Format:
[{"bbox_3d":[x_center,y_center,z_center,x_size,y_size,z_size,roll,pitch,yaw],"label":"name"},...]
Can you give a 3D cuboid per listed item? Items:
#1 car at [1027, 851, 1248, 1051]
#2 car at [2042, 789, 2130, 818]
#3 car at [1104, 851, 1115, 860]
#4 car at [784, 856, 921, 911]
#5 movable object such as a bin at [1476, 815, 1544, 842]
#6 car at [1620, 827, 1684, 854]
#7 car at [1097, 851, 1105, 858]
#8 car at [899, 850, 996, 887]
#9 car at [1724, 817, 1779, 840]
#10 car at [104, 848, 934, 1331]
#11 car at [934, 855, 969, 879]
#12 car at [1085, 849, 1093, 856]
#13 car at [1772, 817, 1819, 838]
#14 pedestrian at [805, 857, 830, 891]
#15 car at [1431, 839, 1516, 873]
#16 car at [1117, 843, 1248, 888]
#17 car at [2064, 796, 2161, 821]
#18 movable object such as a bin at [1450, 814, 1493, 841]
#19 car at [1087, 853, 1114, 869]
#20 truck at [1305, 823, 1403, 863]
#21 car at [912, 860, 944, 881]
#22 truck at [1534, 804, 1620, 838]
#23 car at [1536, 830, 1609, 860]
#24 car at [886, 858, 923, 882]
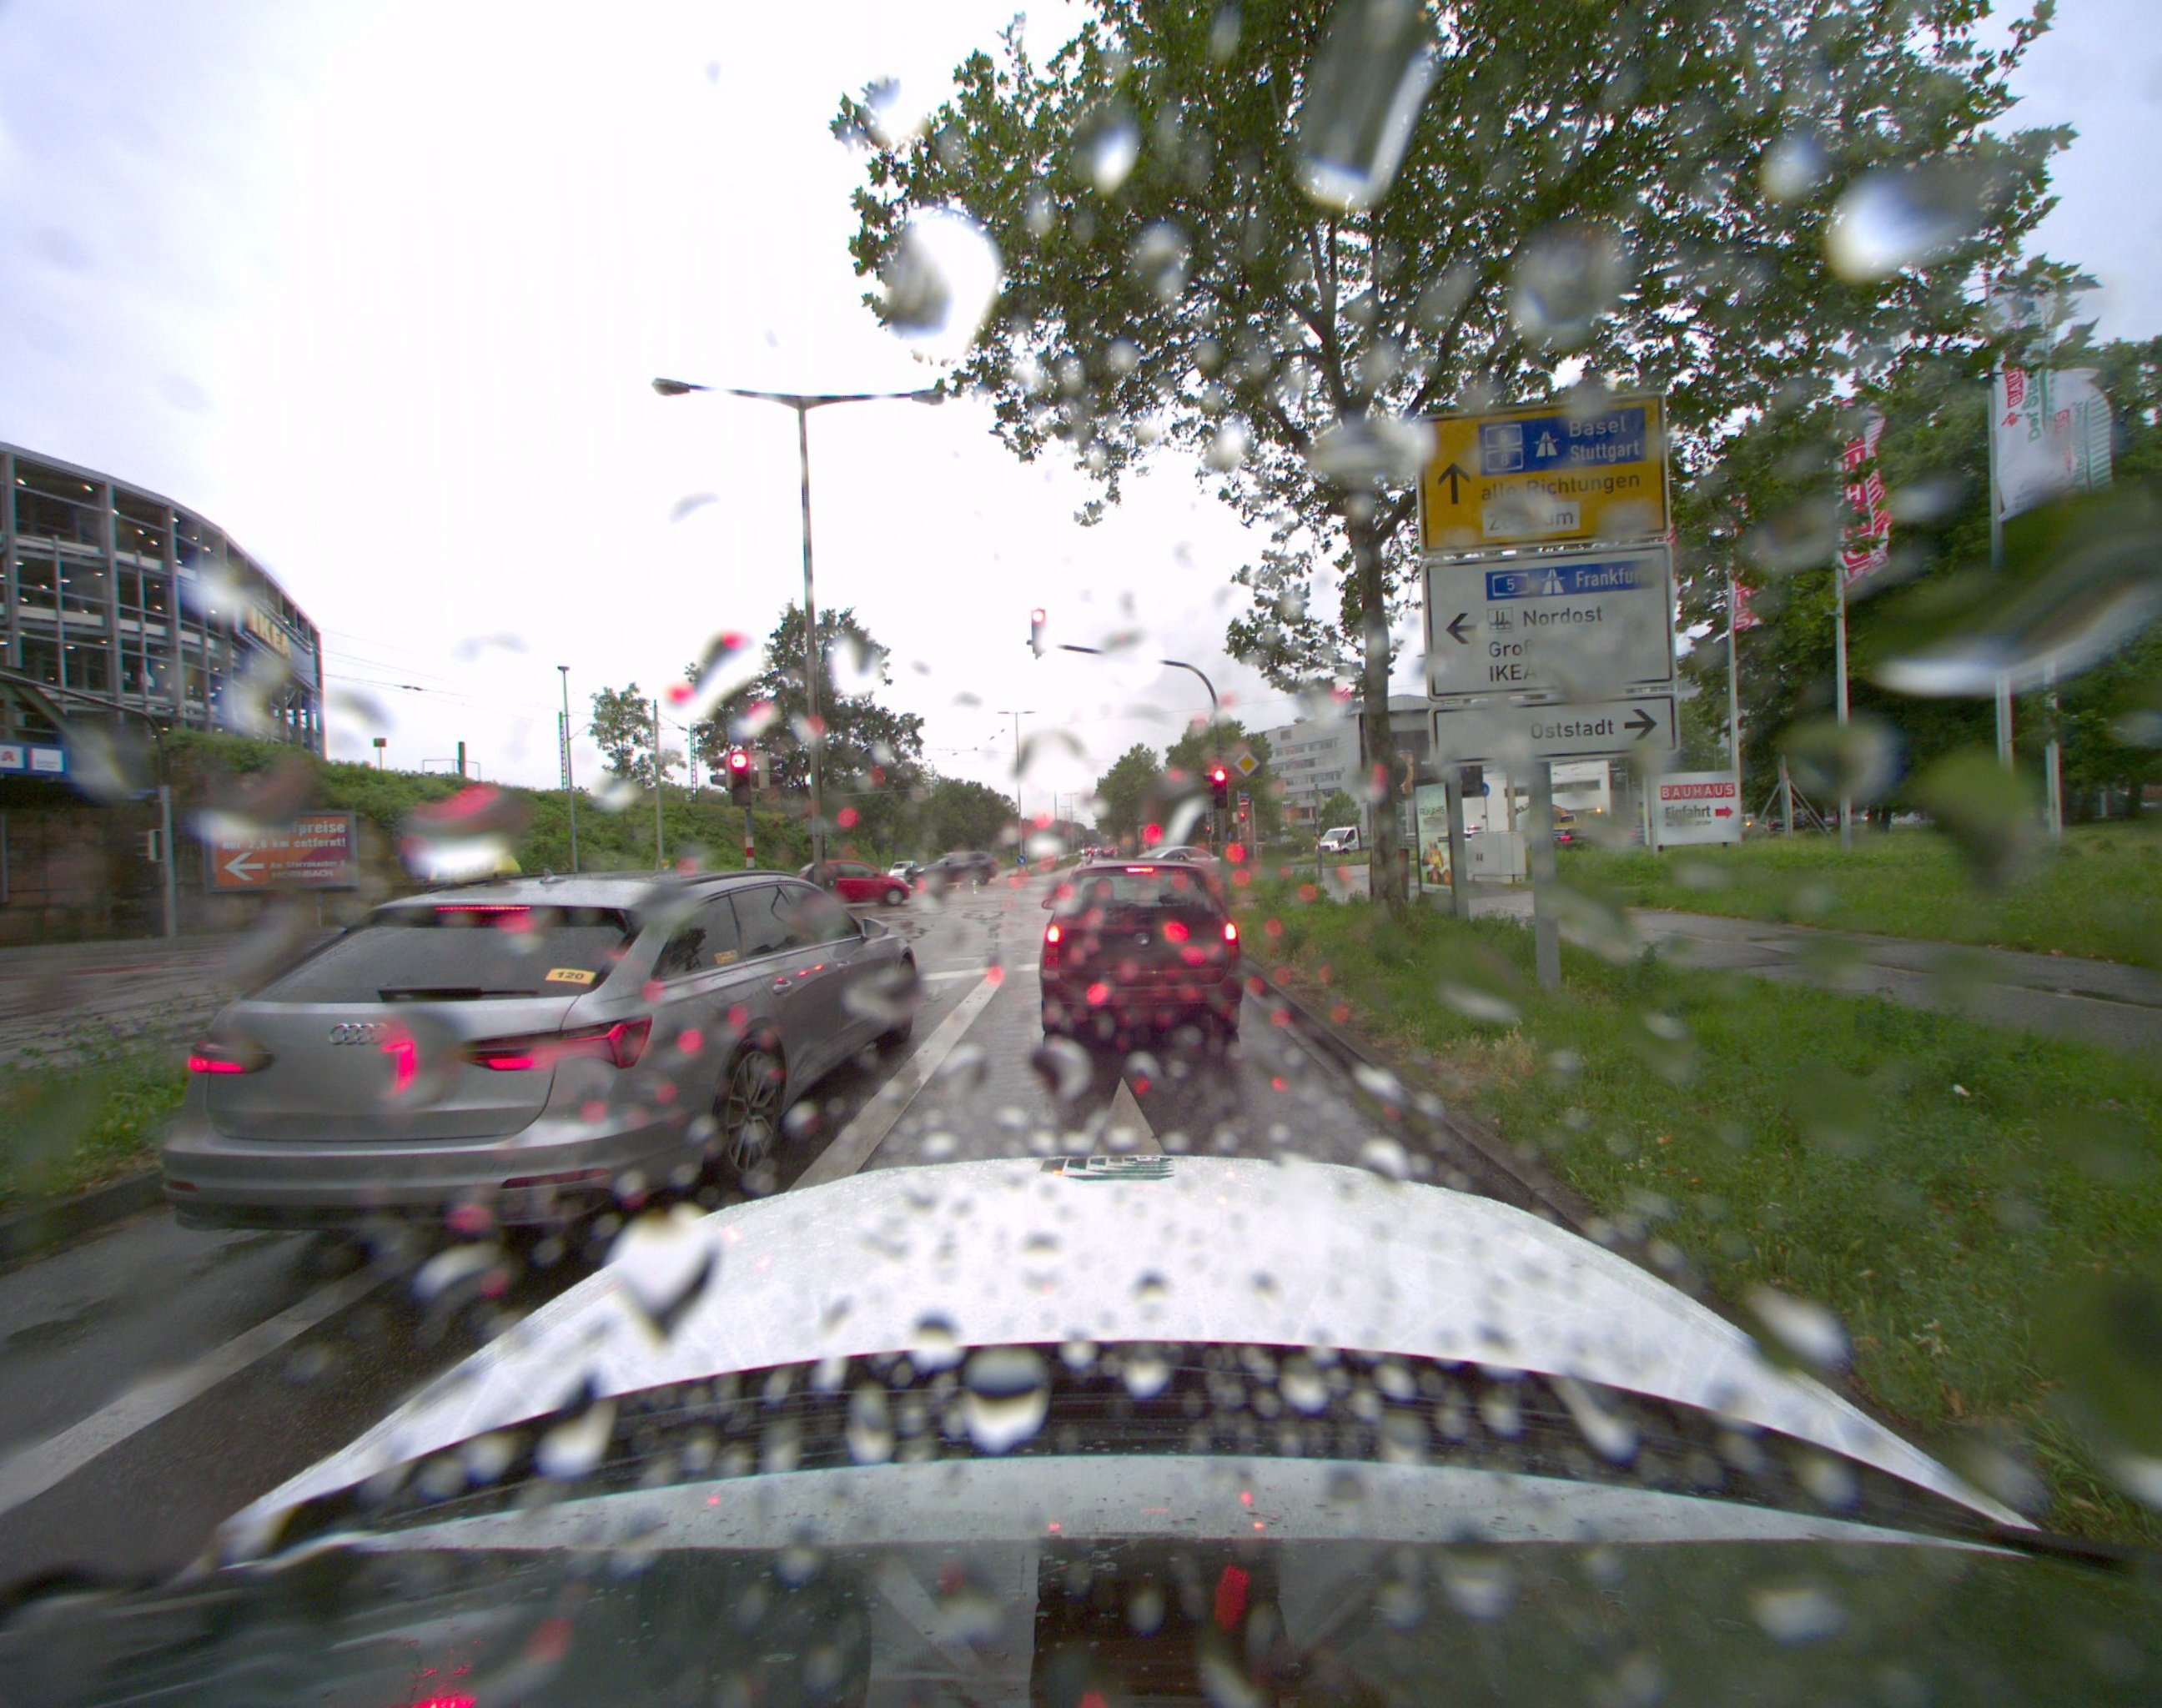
[{"bbox_3d":[0.449,0.714,7.916,1.636,1.465,3.733,0,0,1],"label":"car"},{"bbox_3d":[80.471,-4.023,65.284,4.230,2.049,1.775,-1,1,45],"label":"car"},{"bbox_3d":[4.820,0.207,138.859,1.664,1.528,3.849,-3,0,3],"label":"car"},{"bbox_3d":[-7.121,0.877,25.443,3.826,1.491,1.663,-2,0,-28],"label":"car"},{"bbox_3d":[53.767,-3.166,102.169,3.342,2.995,6.650,-3,0,-34],"label":"movable object such as a bin"},{"bbox_3d":[37.848,-0.913,53.948,4.645,1.586,1.907,-2,-1,-34],"label":"car"},{"bbox_3d":[4.629,0.128,192.012,1.691,1.528,3.849,-3,0,3],"label":"car"},{"bbox_3d":[-6.415,0.692,39.351,4.264,1.559,1.728,-3,0,-35],"label":"car"},{"bbox_3d":[50.193,-1.929,60.960,4.645,1.586,1.907,-2,-1,-34],"label":"car"},{"bbox_3d":[-2.284,0.761,5.088,1.763,1.574,4.822,0,0,1],"label":"car"},{"bbox_3d":[-8.950,0.872,56.526,1.632,1.473,3.966,-3,0,1],"label":"car"},{"bbox_3d":[2.100,-0.377,202.079,1.691,1.528,3.849,-3,0,3],"label":"car"},{"bbox_3d":[61.228,-2.277,69.782,4.645,1.586,1.907,-2,-1,-34],"label":"car"},{"bbox_3d":[-14.952,1.104,46.204,1.102,1.847,1.126,-3,0,-10],"label":"pedestrian"},{"bbox_3d":[20.653,0.075,42.798,4.644,1.586,1.907,-2,-1,-34],"label":"car"},{"bbox_3d":[3.974,0.426,31.653,4.844,1.491,1.909,-2,0,-30],"label":"car"},{"bbox_3d":[88.536,-3.890,69.317,2.286,1.731,5.899,-3,0,-33],"label":"car"},{"bbox_3d":[46.726,-3.142,97.446,3.342,2.995,3.296,-3,0,-34],"label":"movable object such as a bin"},{"bbox_3d":[2.097,0.763,89.770,1.996,1.790,3.981,0,-1,-13],"label":"car"},{"bbox_3d":[18.259,-0.744,54.275,6.897,2.365,2.455,-3,0,-35],"label":"truck"},{"bbox_3d":[-11.577,1.221,61.872,1.585,1.404,3.823,-3,0,1],"label":"car"},{"bbox_3d":[57.966,-3.817,95.387,3.342,3.507,7.806,-3,0,-33],"label":"truck"},{"bbox_3d":[28.710,-0.520,47.547,4.645,1.586,1.906,-2,-1,-35],"label":"car"},{"bbox_3d":[-11.980,1.062,55.552,1.633,1.452,3.786,-3,0,0],"label":"car"}]
